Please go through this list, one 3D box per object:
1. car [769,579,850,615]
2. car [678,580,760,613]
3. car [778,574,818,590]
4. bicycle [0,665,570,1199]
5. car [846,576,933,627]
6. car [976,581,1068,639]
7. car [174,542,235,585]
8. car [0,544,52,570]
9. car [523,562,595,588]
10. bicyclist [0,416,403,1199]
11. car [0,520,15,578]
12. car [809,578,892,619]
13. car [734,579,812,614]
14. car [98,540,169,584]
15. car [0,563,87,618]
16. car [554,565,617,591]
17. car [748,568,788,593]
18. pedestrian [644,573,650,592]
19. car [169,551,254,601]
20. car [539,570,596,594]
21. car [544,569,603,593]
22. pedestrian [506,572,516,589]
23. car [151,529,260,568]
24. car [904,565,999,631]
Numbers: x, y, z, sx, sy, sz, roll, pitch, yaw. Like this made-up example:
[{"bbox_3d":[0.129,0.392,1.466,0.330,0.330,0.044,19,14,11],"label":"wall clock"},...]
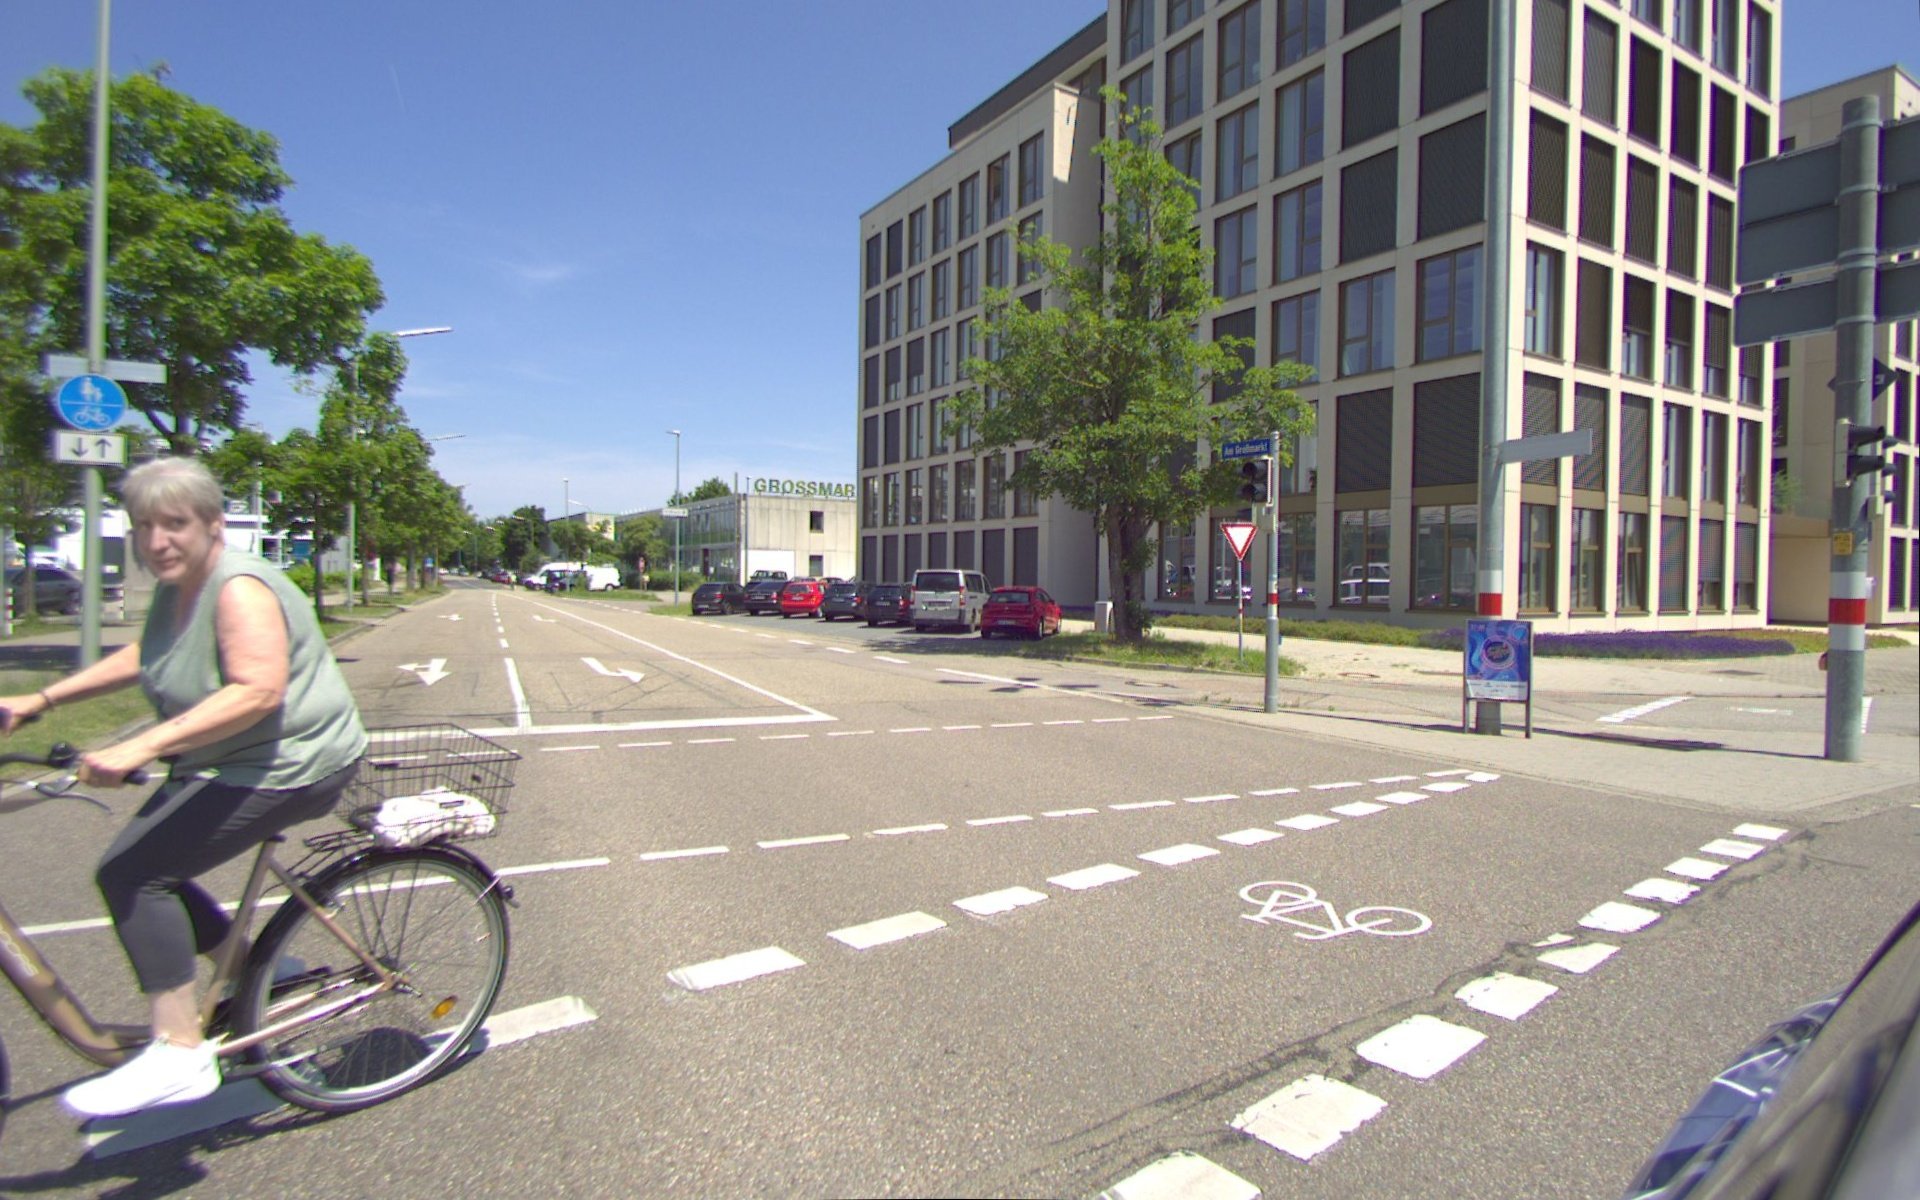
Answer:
[{"bbox_3d":[-6.019,-0.146,40.999,1.891,1.370,3.984,1,1,13],"label":"car"},{"bbox_3d":[-10.523,-0.204,44.449,1.891,1.349,3.984,1,1,13],"label":"car"},{"bbox_3d":[-12.255,-1.348,76.514,1.661,1.171,4.004,0,0,-30],"label":"car"},{"bbox_3d":[-1.930,0.800,2.377,0.625,1.147,1.872,1,1,34],"label":"bicycle"},{"bbox_3d":[-2.344,0.011,34.791,1.891,1.609,3.984,1,1,13],"label":"car"},{"bbox_3d":[1.837,0.225,28.974,1.677,1.450,3.977,0,2,18],"label":"car"},{"bbox_3d":[-34.029,-1.597,45.661,1.961,1.727,4.001,0,0,-33],"label":"car"},{"bbox_3d":[-64.734,-2.932,68.730,4.271,1.673,1.916,0,1,-31],"label":"car"},{"bbox_3d":[-40.508,-2.479,102.237,6.560,2.553,2.221,0,-1,-29],"label":"car"},{"bbox_3d":[-1.912,0.459,2.430,0.625,1.626,0.815,-1,-1,34],"label":"bicyclist"},{"bbox_3d":[-33.047,-1.713,33.411,1.877,1.991,5.254,0,1,-34],"label":"car"},{"bbox_3d":[-4.091,-0.096,38.316,1.891,1.457,3.984,1,1,13],"label":"car"},{"bbox_3d":[-7.955,-0.192,43.359,1.847,1.392,3.984,1,1,13],"label":"car"},{"bbox_3d":[-35.991,-1.616,44.166,1.961,1.727,4.001,0,0,-33],"label":"car"},{"bbox_3d":[-28.103,-0.305,29.461,1.813,1.490,4.624,1,2,-7],"label":"car"},{"bbox_3d":[-30.404,-1.747,82.122,4.486,2.039,2.001,0,-1,-31],"label":"car"},{"bbox_3d":[-14.279,-1.401,75.000,1.760,1.750,4.004,0,0,-29],"label":"car"},{"bbox_3d":[-26.074,-1.463,84.255,0.397,1.579,0.550,0,1,-30],"label":"pedestrian"},{"bbox_3d":[-27.352,-0.874,37.111,1.875,1.715,4.595,0,1,-28],"label":"car"},{"bbox_3d":[-34.944,-1.599,90.053,4.486,2.039,2.001,0,-1,-31],"label":"car"},{"bbox_3d":[-33.406,-1.618,87.433,4.486,2.039,2.001,0,-1,-31],"label":"car"},{"bbox_3d":[-44.207,-1.917,99.574,0.856,1.697,0.758,0,1,-27],"label":"pedestrian"},{"bbox_3d":[-39.797,-2.673,53.514,4.500,1.910,1.915,0,1,-34],"label":"car"},{"bbox_3d":[-0.156,-0.079,32.195,1.891,1.910,4.912,1,1,13],"label":"car"}]
